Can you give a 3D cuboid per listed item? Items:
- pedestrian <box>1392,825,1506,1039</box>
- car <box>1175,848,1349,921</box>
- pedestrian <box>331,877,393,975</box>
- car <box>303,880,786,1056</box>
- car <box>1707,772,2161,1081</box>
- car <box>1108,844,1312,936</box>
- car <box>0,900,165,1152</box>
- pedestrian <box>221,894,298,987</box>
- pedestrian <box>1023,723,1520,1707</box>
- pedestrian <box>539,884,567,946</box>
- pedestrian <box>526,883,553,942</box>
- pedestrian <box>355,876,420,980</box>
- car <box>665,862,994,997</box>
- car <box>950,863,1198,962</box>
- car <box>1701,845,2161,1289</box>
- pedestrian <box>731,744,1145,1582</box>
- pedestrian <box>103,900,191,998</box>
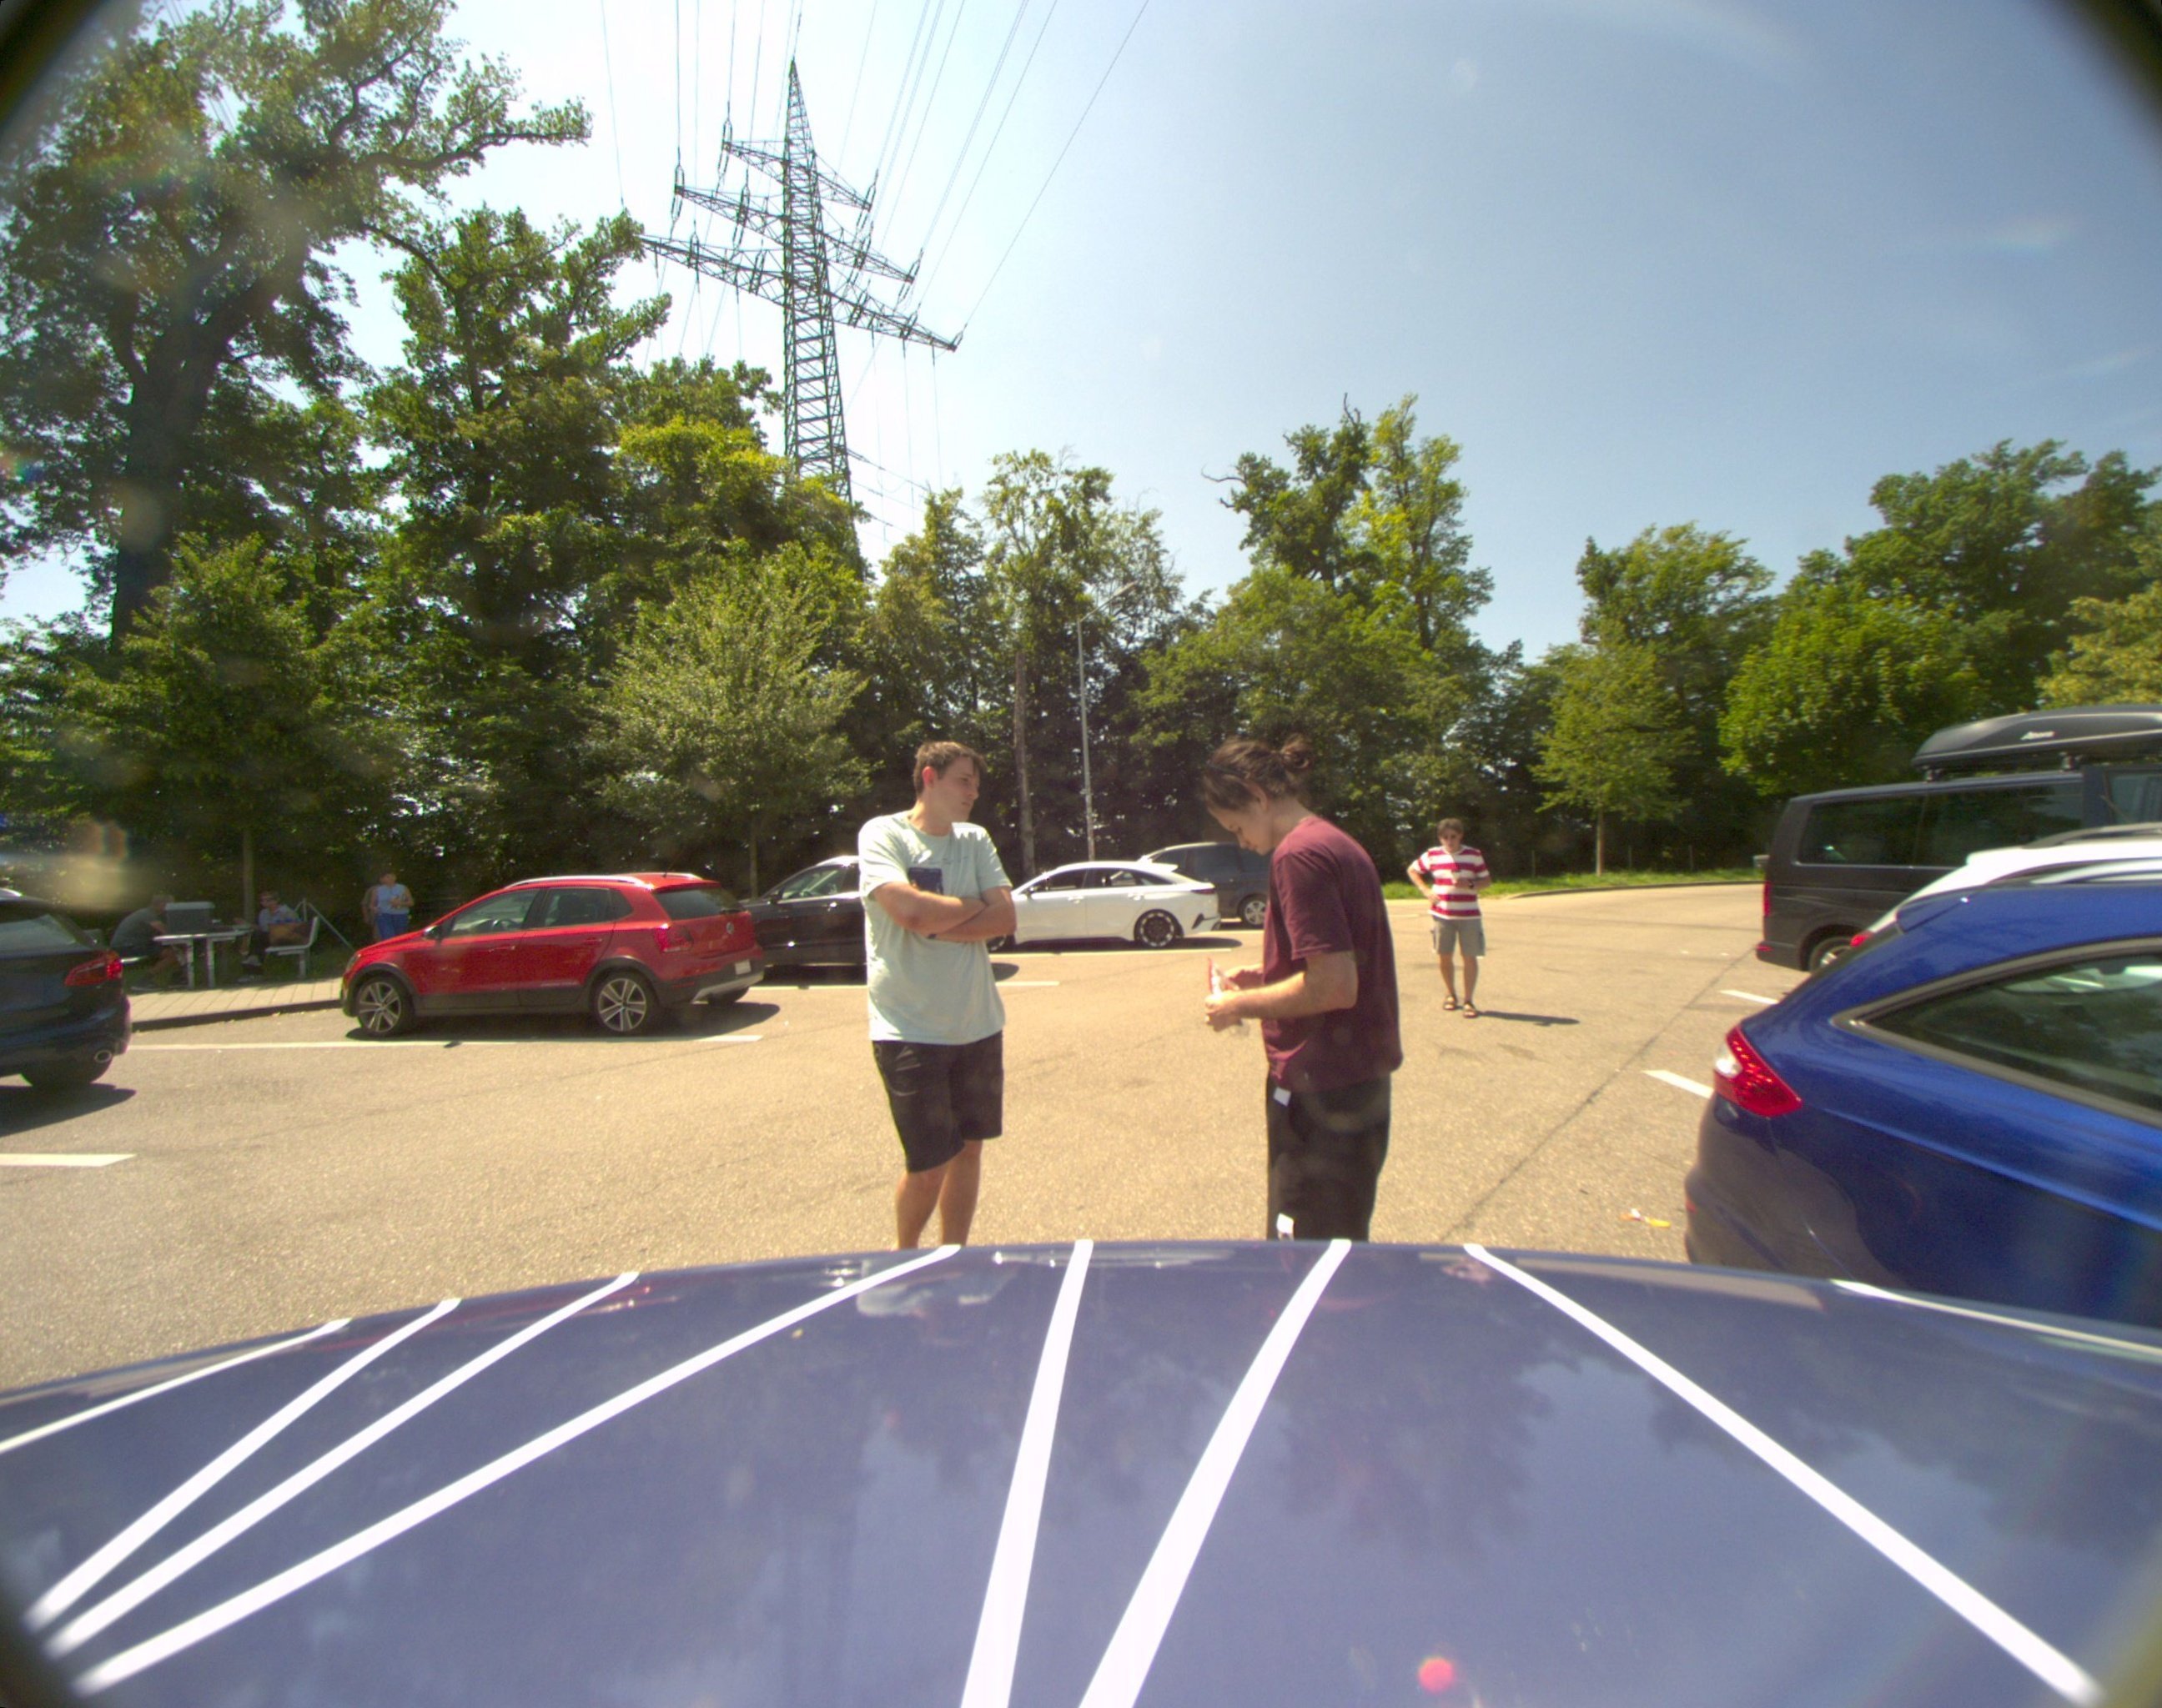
[{"bbox_3d":[3.267,0.636,6.724,0.753,1.744,0.786,-1,1,35],"label":"pedestrian"},{"bbox_3d":[4.265,0.706,18.151,3.822,1.551,1.652,-2,1,12],"label":"car"},{"bbox_3d":[-12.317,1.208,13.021,0.571,1.596,0.648,-1,2,40],"label":"pedestrian"},{"bbox_3d":[-5.232,1.089,7.670,3.823,1.460,1.651,-2,1,8],"label":"car"},{"bbox_3d":[7.373,0.413,5.283,1.758,1.886,4.571,-3,-1,-9],"label":"car"},{"bbox_3d":[2.606,0.709,15.456,3.822,1.686,1.652,-2,1,12],"label":"car"},{"bbox_3d":[-9.032,1.171,5.004,4.338,1.544,1.749,-1,1,8],"label":"car"},{"bbox_3d":[-11.862,1.229,10.986,0.595,1.238,0.499,-3,1,-33],"label":"pedestrian"},{"bbox_3d":[0.467,0.714,1.929,0.919,1.894,0.815,-2,1,16],"label":"pedestrian"},{"bbox_3d":[-10.165,1.163,14.623,0.357,1.158,0.384,-3,2,-41],"label":"pedestrian"},{"bbox_3d":[-11.009,1.186,15.439,0.357,1.158,0.384,-3,2,-41],"label":"pedestrian"},{"bbox_3d":[-11.216,1.174,12.290,0.571,1.596,0.648,-1,2,40],"label":"pedestrian"},{"bbox_3d":[-3.250,0.961,10.299,3.825,1.546,1.651,-2,1,4],"label":"car"},{"bbox_3d":[-0.075,0.931,12.674,3.825,1.394,1.651,-2,1,4],"label":"car"},{"bbox_3d":[4.645,0.727,2.252,1.757,1.496,4.574,-3,-1,-1],"label":"car"},{"bbox_3d":[-0.453,0.713,2.353,0.815,1.939,0.918,-3,2,-43],"label":"pedestrian"},{"bbox_3d":[-12.729,1.269,10.372,0.595,1.238,0.446,-3,1,-33],"label":"pedestrian"}]
